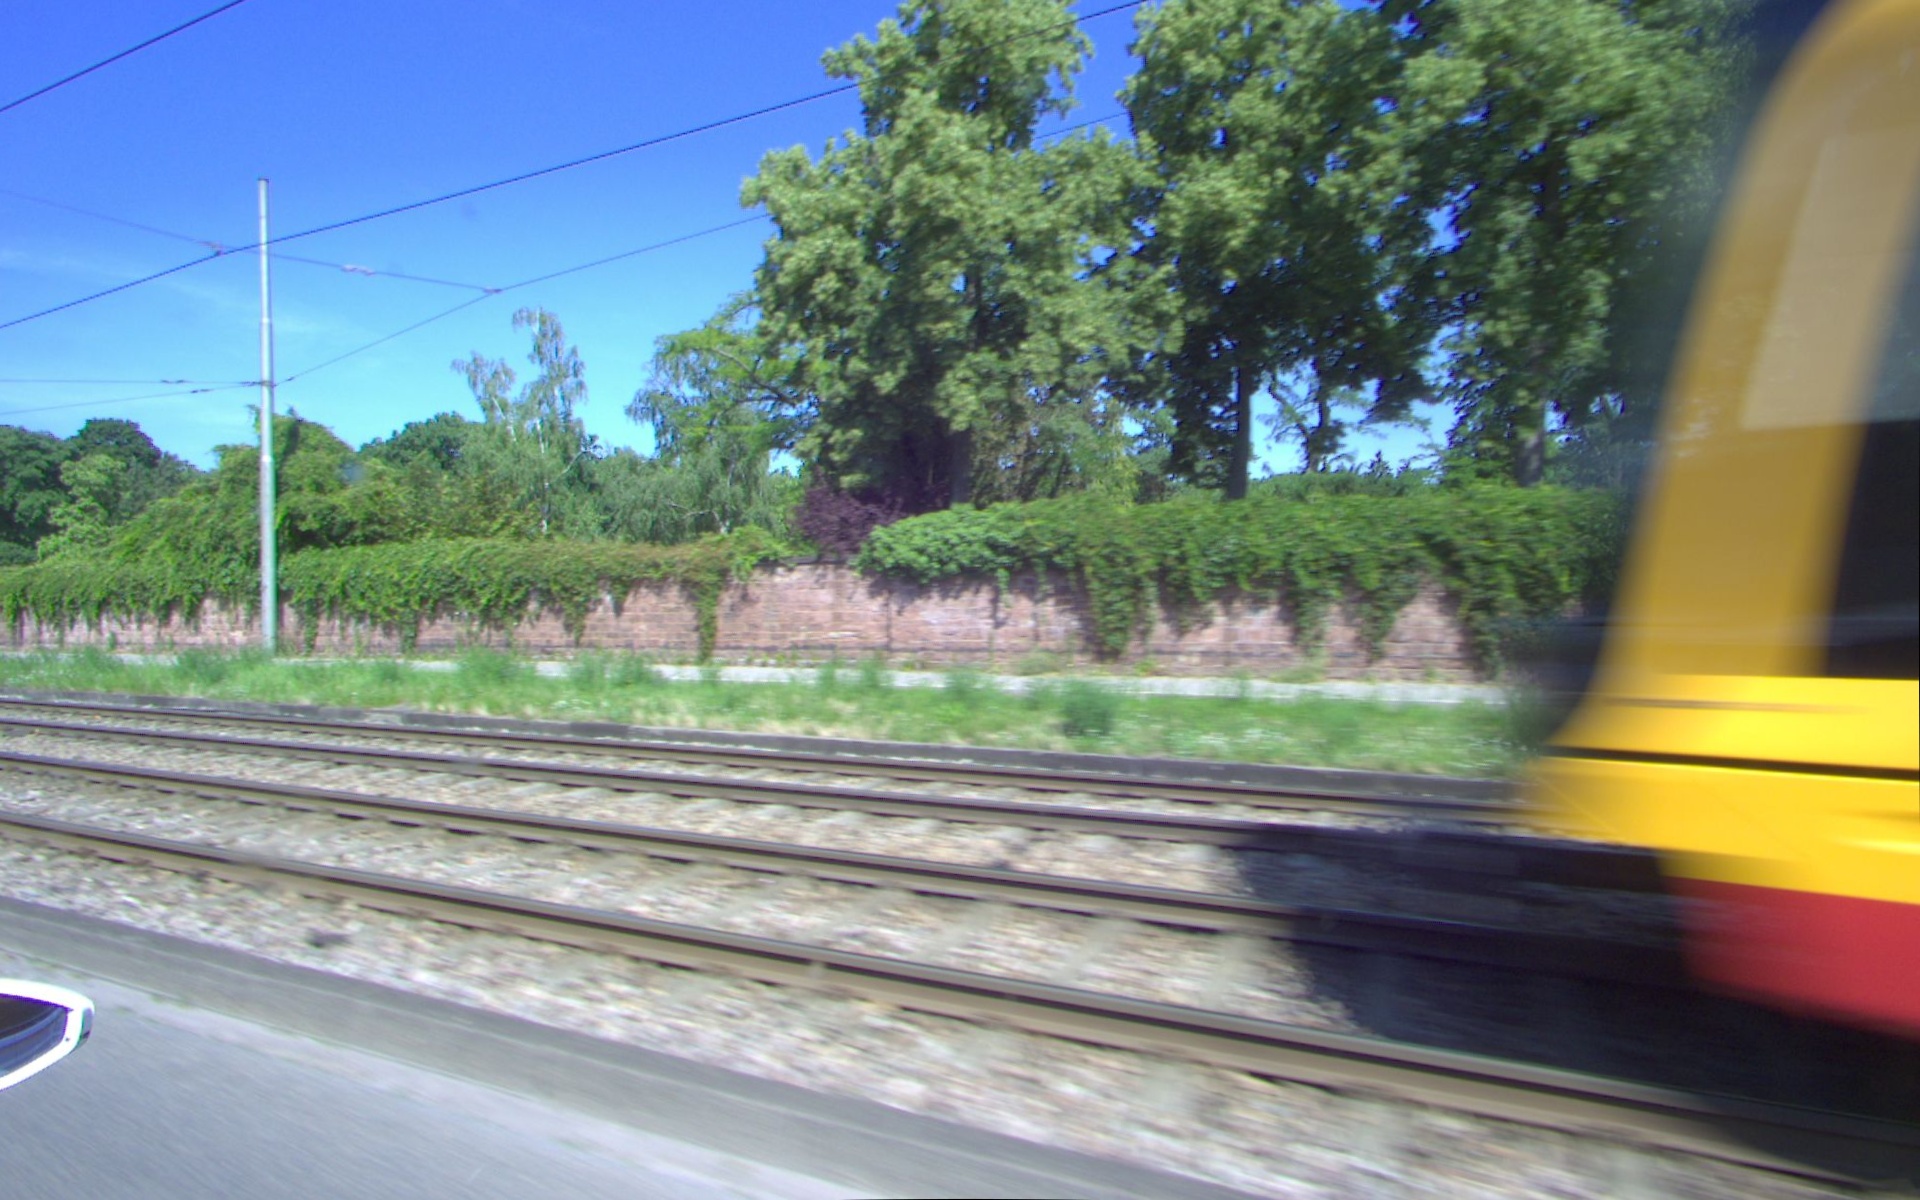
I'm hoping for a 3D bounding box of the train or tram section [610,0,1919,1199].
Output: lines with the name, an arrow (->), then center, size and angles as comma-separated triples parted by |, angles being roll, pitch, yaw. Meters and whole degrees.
train or tram section -> 5.222, -0.424, 2.037 | 13.090, 3.797, 2.511 | 0, 1, 24
